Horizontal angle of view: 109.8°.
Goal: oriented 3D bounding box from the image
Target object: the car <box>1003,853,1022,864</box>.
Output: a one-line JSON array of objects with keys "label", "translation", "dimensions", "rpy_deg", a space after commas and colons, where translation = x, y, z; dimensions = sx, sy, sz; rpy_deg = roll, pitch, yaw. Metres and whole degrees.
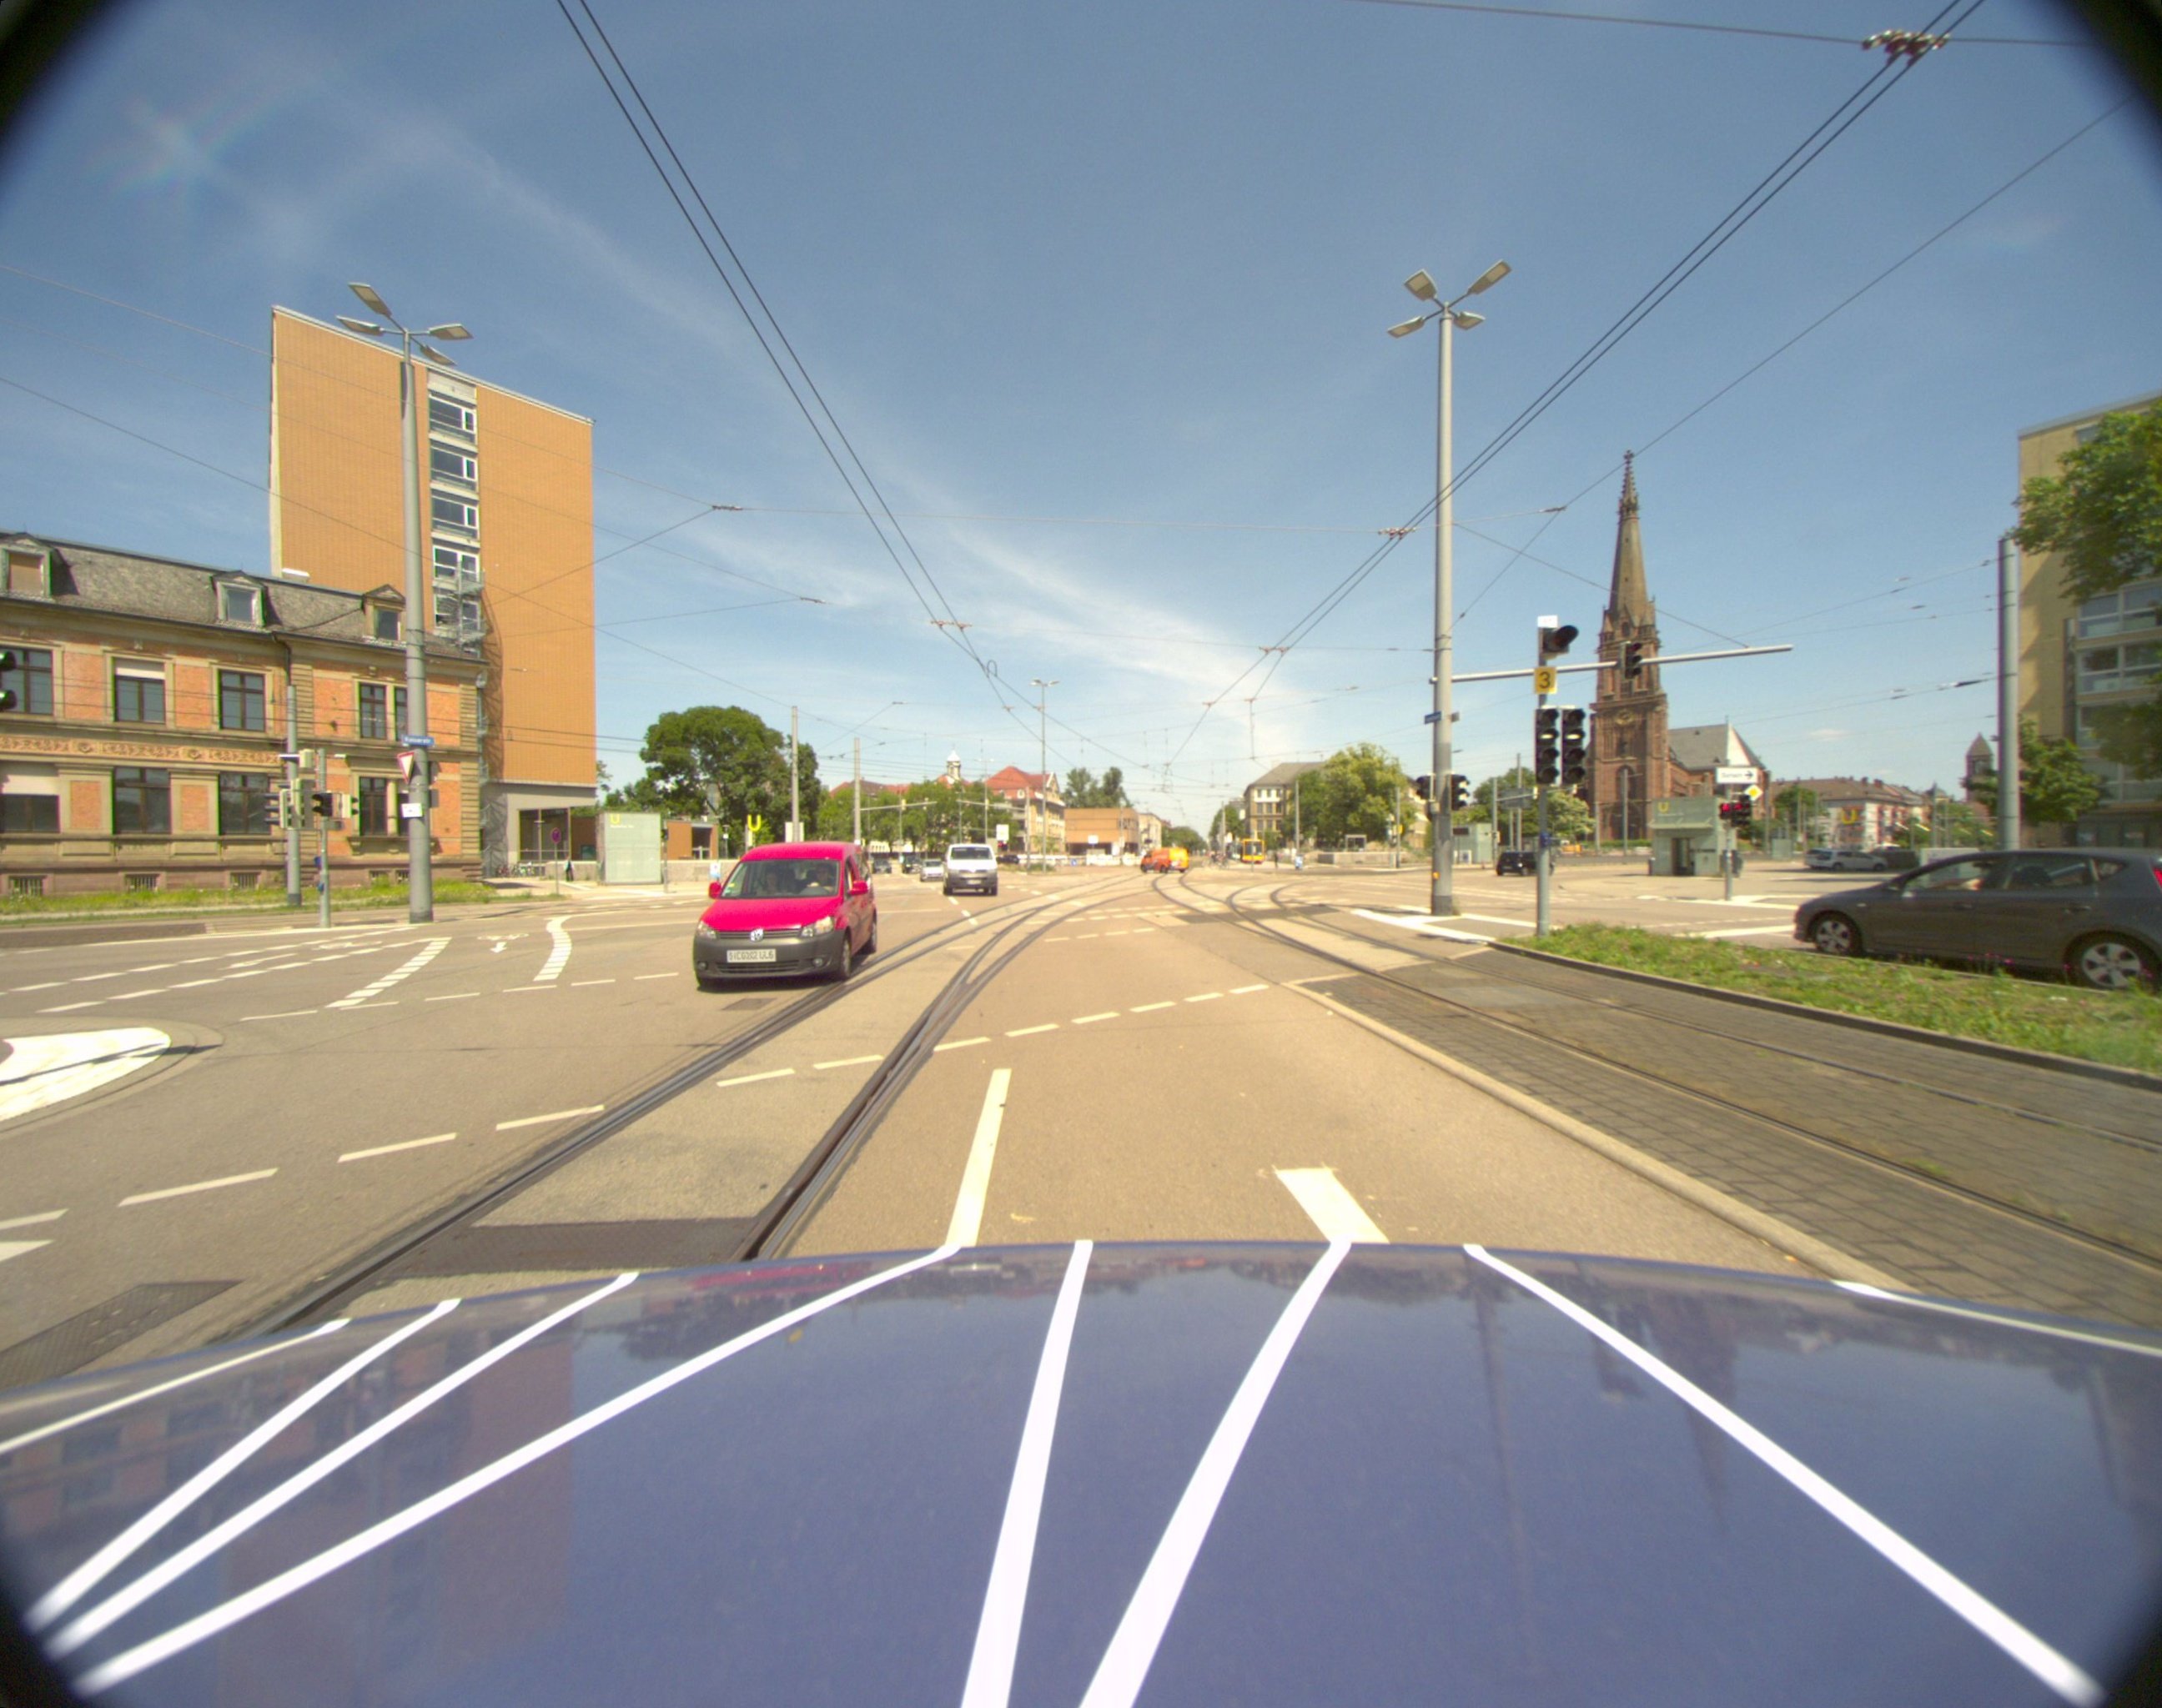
[{"label": "car", "translation": [-9.785, 0.603, 108.298], "dimensions": [1.541, 1.450, 2.980], "rpy_deg": [-1, 1, -30]}]

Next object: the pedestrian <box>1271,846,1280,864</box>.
[{"label": "pedestrian", "translation": [18.257, 0.076, 71.195], "dimensions": [0.657, 1.661, 0.449], "rpy_deg": [-1, 1, -17]}]

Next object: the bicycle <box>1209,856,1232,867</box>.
[{"label": "bicycle", "translation": [12.505, 0.692, 68.218], "dimensions": [1.906, 0.973, 0.528], "rpy_deg": [-1, 1, -6]}]

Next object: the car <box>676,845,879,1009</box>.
[{"label": "car", "translation": [-3.949, 0.797, 10.605], "dimensions": [1.757, 1.802, 4.093], "rpy_deg": [-1, 1, -9]}]

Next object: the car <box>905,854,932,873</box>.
[{"label": "car", "translation": [-15.727, 0.895, 73.374], "dimensions": [2.002, 1.714, 3.993], "rpy_deg": [-1, 0, -21]}]

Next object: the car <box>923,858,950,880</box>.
[{"label": "car", "translation": [-9.780, 0.989, 51.191], "dimensions": [1.573, 1.346, 3.454], "rpy_deg": [-1, 1, -14]}]

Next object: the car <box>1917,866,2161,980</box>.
[{"label": "car", "translation": [13.785, 0.874, 9.591], "dimensions": [1.711, 1.291, 4.202], "rpy_deg": [1, 1, -2]}]

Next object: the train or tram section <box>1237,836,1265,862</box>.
[{"label": "train or tram section", "translation": [21.851, -0.682, 98.066], "dimensions": [2.840, 3.195, 9.114], "rpy_deg": [0, 0, 8]}]

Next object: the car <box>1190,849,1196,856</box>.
[{"label": "car", "translation": [25.223, -0.306, 171.410], "dimensions": [1.439, 1.587, 4.002], "rpy_deg": [0, 0, 8]}]

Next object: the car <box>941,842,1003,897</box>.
[{"label": "car", "translation": [-4.225, 0.541, 29.034], "dimensions": [1.876, 1.954, 3.818], "rpy_deg": [-1, 1, -15]}]

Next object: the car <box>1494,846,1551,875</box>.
[{"label": "car", "translation": [25.531, 0.342, 43.908], "dimensions": [3.392, 1.565, 1.331], "rpy_deg": [-2, 1, -30]}]

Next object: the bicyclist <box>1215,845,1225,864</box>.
[{"label": "bicyclist", "translation": [12.497, 0.012, 68.279], "dimensions": [0.813, 1.678, 0.528], "rpy_deg": [-1, 1, -6]}]

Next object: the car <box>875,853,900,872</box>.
[{"label": "car", "translation": [-19.632, 0.858, 76.861], "dimensions": [2.002, 1.830, 3.993], "rpy_deg": [-1, 0, -21]}]

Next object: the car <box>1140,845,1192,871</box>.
[{"label": "car", "translation": [6.757, 0.284, 60.837], "dimensions": [2.003, 2.002, 4.585], "rpy_deg": [-1, 1, -27]}]

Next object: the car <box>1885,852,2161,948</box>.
[{"label": "car", "translation": [18.595, 0.778, 14.590], "dimensions": [1.538, 1.588, 4.399], "rpy_deg": [1, 0, -2]}]

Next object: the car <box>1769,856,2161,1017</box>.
[{"label": "car", "translation": [10.808, 0.769, 8.736], "dimensions": [1.848, 1.471, 4.329], "rpy_deg": [0, 0, 0]}]
